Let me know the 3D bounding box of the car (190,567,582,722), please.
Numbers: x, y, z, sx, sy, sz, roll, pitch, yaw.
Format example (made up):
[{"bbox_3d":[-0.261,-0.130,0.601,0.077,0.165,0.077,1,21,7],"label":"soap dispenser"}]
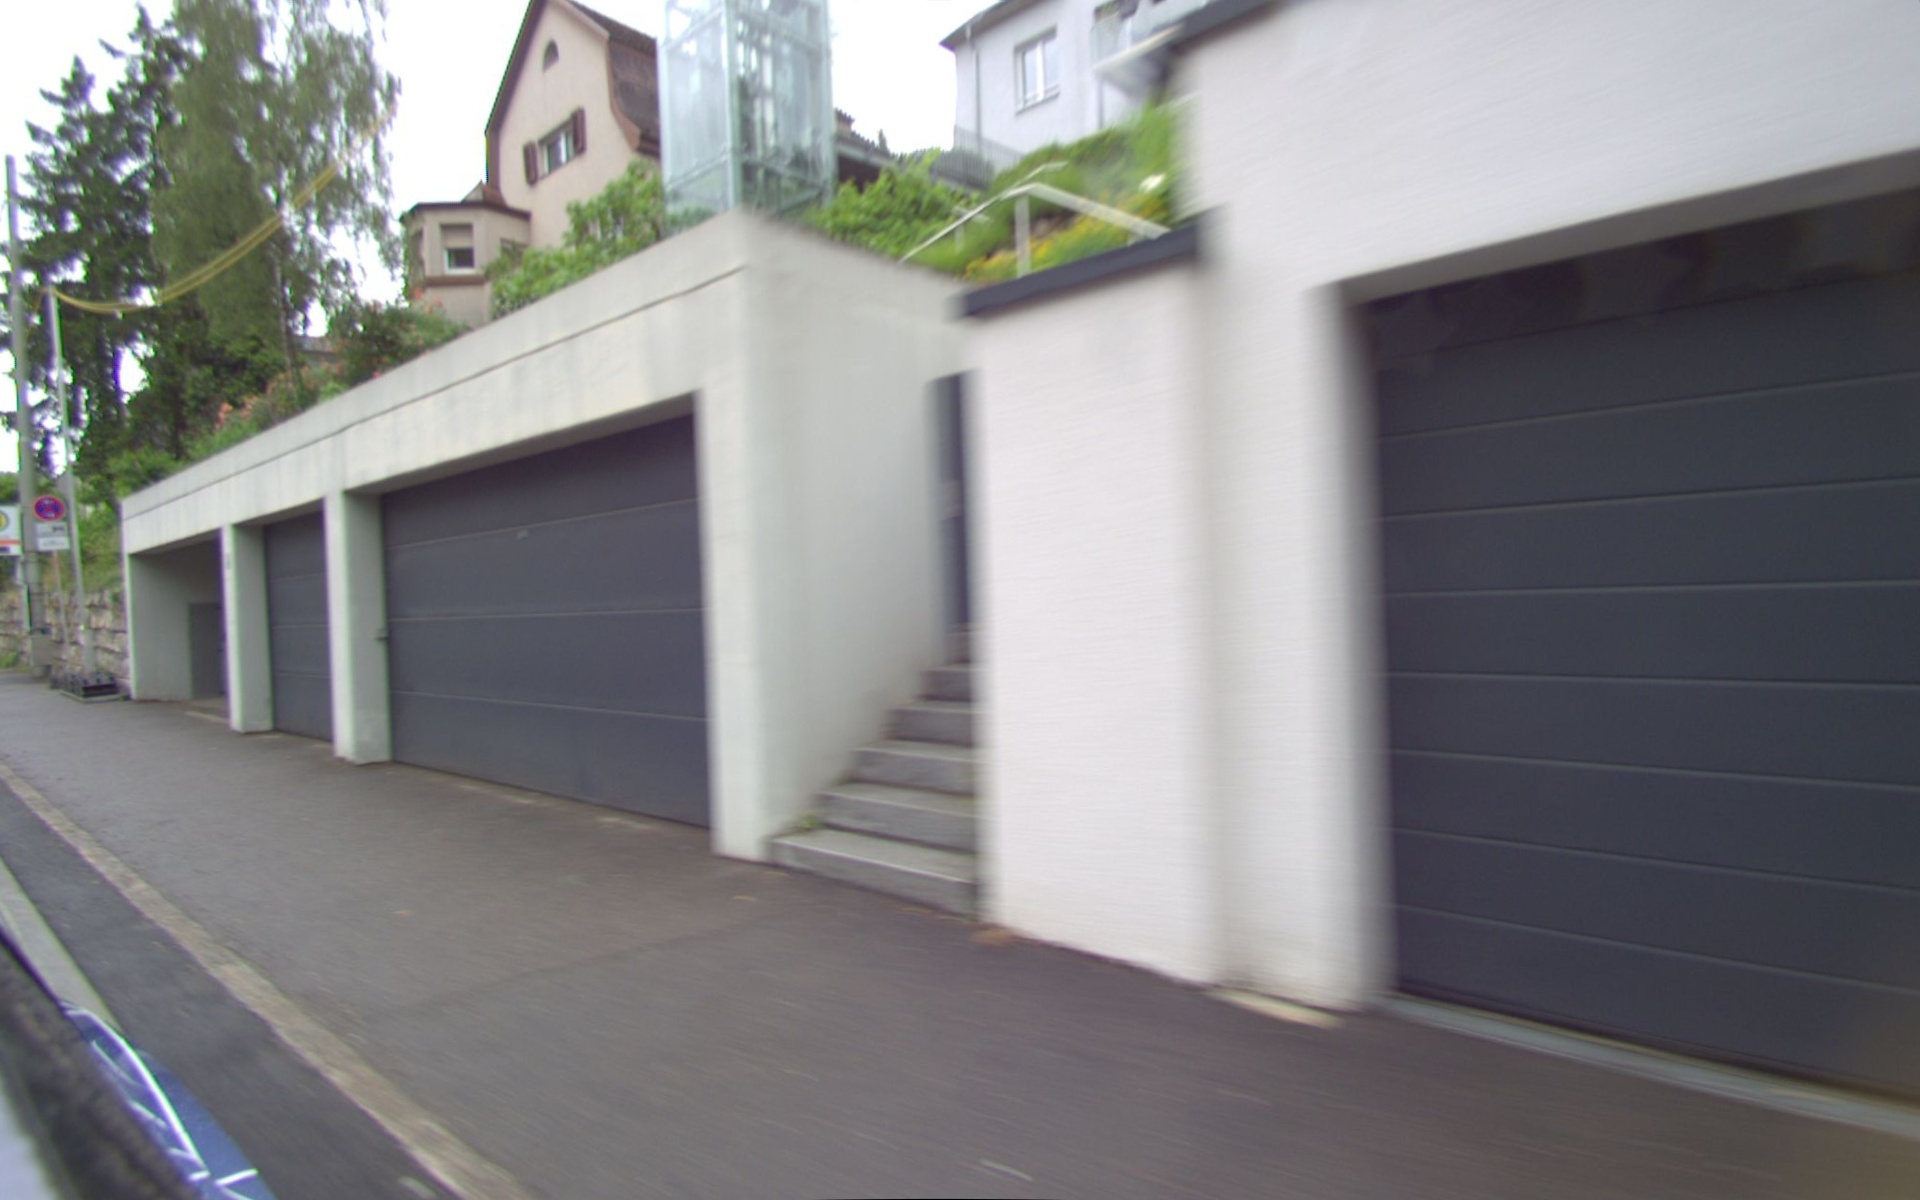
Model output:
[{"bbox_3d":[-8.011,0.482,14.458,2.109,1.718,4.357,0,3,40],"label":"car"}]

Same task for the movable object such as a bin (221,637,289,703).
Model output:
[{"bbox_3d":[-10.760,1.049,15.455,0.656,0.910,0.676,0,3,41],"label":"movable object such as a bin"}]

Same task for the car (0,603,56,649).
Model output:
[{"bbox_3d":[-36.085,1.024,37.228,3.943,1.537,1.787,-3,2,-1],"label":"car"}]
